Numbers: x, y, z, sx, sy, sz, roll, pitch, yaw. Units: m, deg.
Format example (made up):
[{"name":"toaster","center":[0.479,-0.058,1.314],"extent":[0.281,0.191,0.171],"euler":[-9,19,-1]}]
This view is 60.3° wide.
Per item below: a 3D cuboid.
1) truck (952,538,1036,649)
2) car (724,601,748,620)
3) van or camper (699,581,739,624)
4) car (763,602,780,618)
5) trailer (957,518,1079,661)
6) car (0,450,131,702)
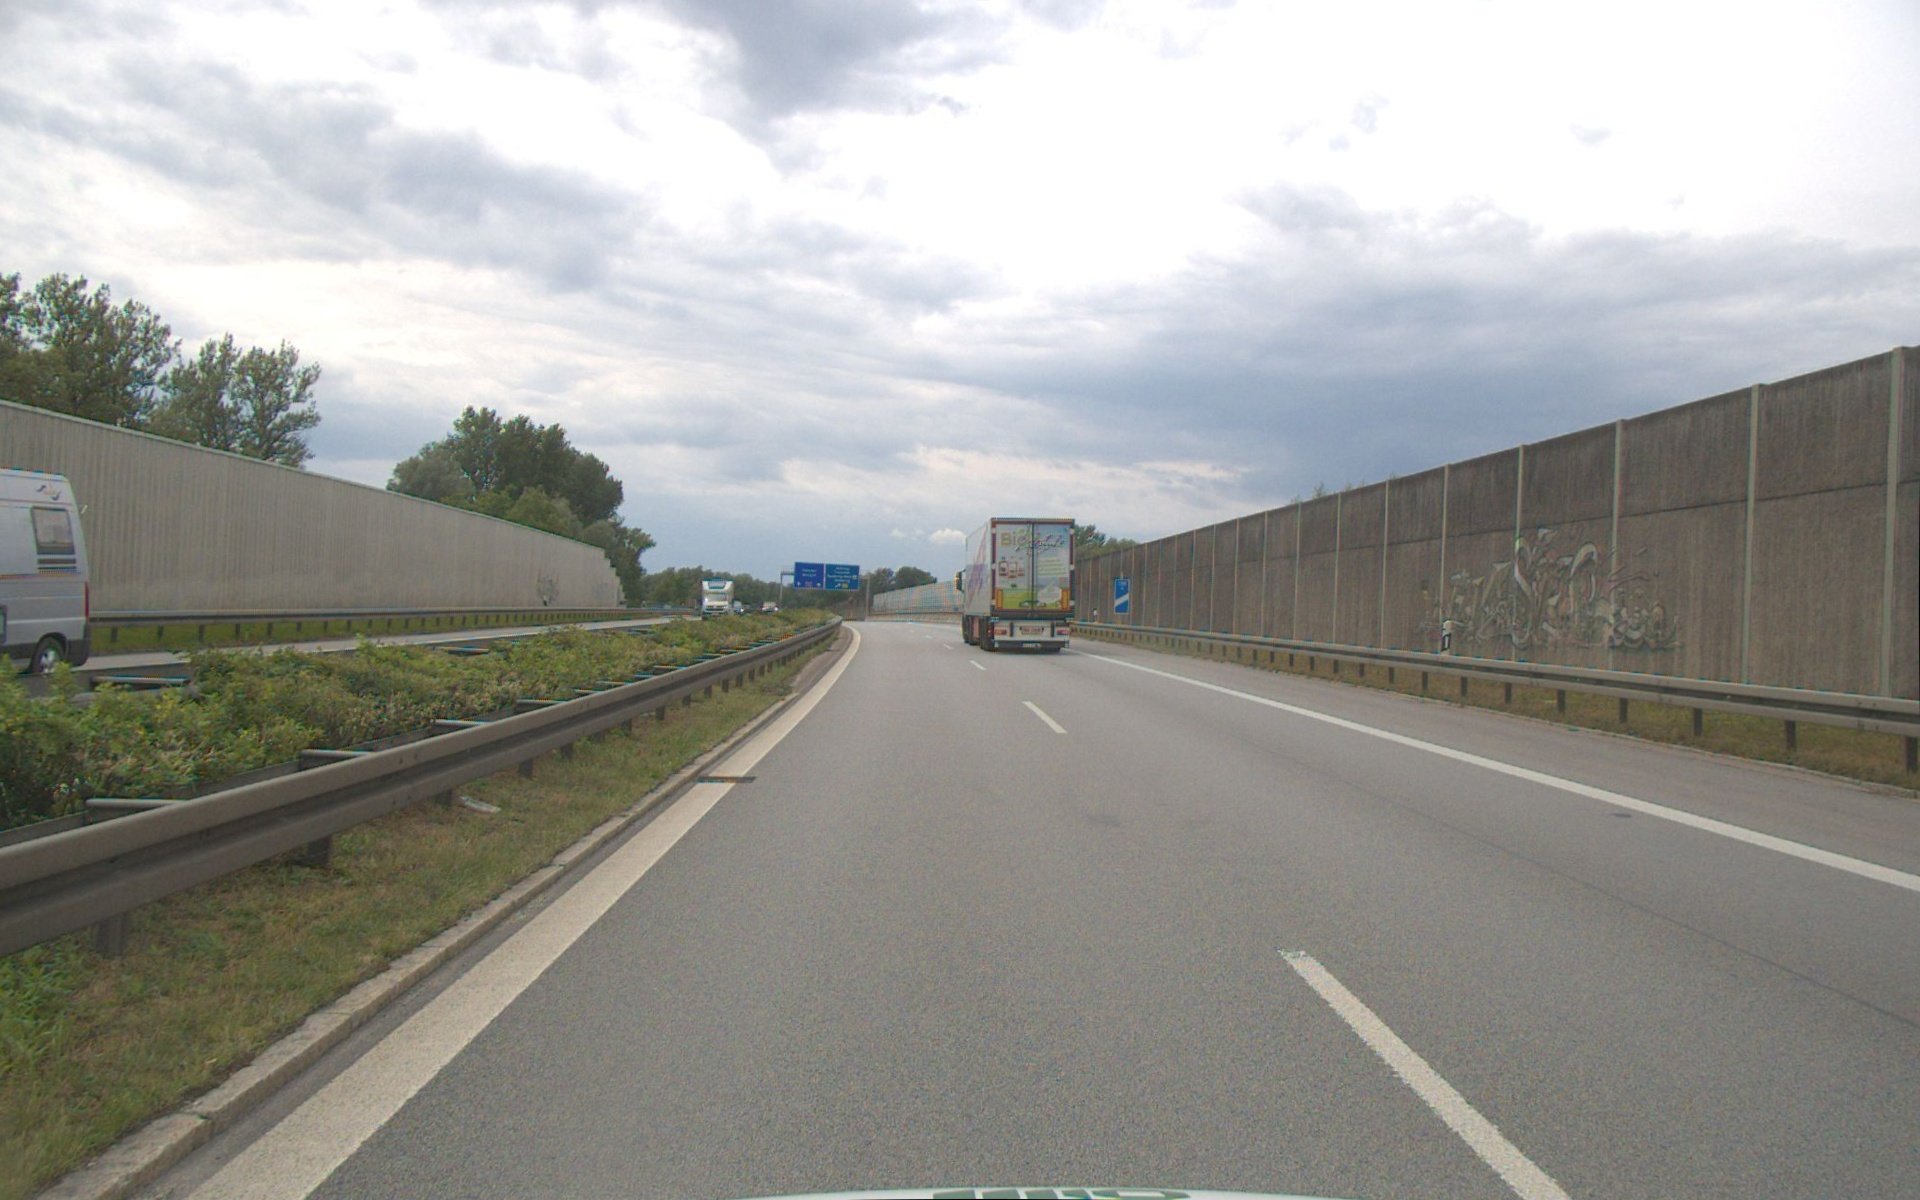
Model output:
[{"name":"truck","center":[1.234,-0.213,63.228],"extent":[2.701,4.029,5.672],"euler":[1,-1,-4]},{"name":"car","center":[-19.339,0.927,142.824],"extent":[1.776,1.574,4.512],"euler":[1,0,-4]},{"name":"van or camper","center":[-16.625,0.192,114.404],"extent":[2.210,2.828,5.750],"euler":[1,0,-4]},{"name":"car","center":[-23.582,1.198,207.210],"extent":[1.955,1.919,4.550],"euler":[1,0,-5]},{"name":"trailer","center":[1.722,-0.246,56.562],"extent":[2.737,4.248,14.092],"euler":[1,-1,-4]},{"name":"car","center":[-10.568,-0.244,16.218],"extent":[2.068,2.498,5.682],"euler":[0,0,-1]}]
